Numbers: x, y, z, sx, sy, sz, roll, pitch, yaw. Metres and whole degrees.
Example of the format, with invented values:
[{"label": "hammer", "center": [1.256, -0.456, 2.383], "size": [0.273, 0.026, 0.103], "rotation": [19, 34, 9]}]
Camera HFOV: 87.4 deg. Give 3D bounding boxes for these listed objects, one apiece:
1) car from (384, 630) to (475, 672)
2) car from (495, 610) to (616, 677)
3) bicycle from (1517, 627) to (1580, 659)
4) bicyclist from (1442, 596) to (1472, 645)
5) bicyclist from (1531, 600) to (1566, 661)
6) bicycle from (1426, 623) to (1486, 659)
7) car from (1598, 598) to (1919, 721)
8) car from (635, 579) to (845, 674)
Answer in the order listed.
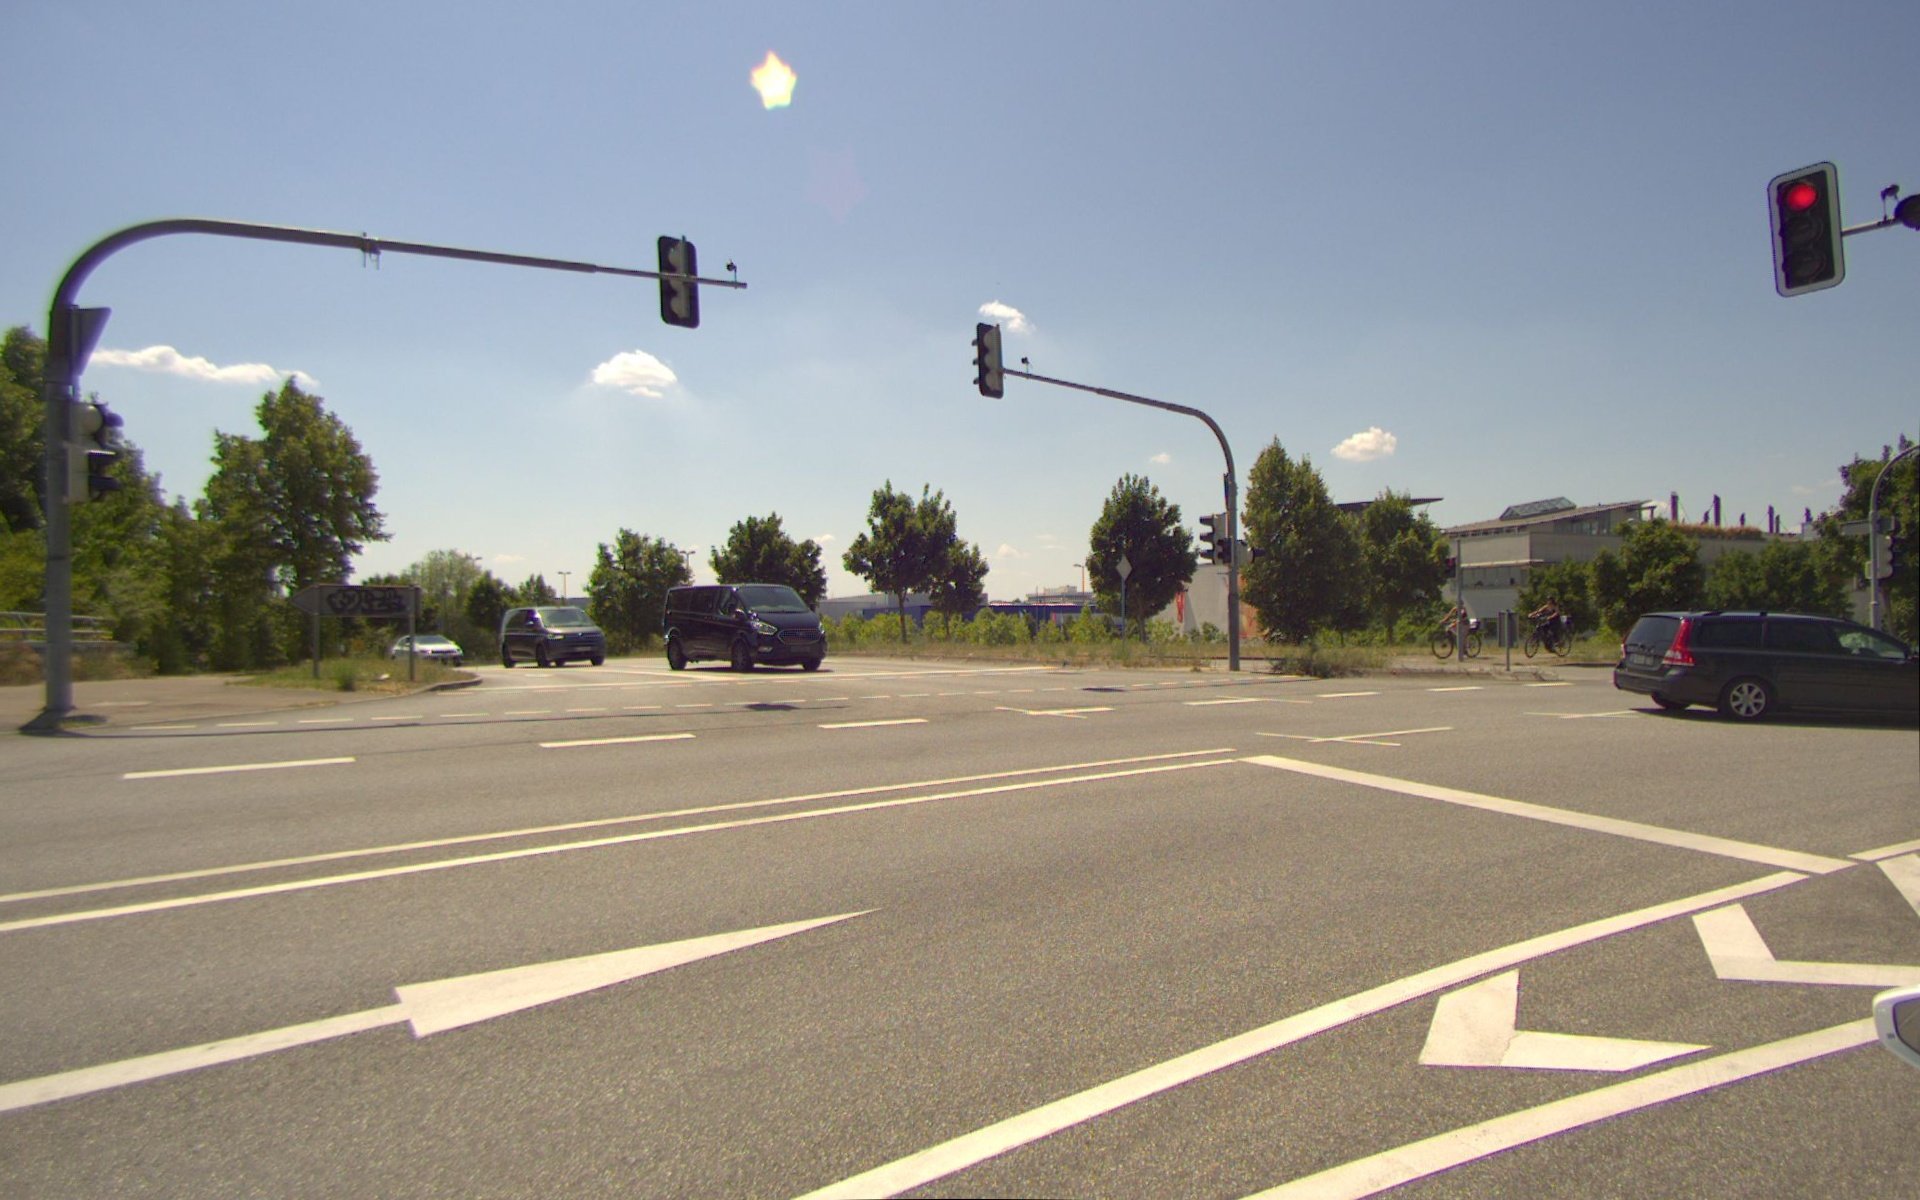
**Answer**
[{"label": "car", "center": [-22.018, 2.080, 41.669], "size": [3.935, 1.549, 1.789], "rotation": [0, -1, 36]}, {"label": "car", "center": [-12.760, 1.365, 31.554], "size": [4.472, 1.944, 1.933], "rotation": [-2, -3, 45]}, {"label": "bicycle", "center": [17.045, 1.227, 29.080], "size": [2.101, 0.864, 0.531], "rotation": [1, 1, -29]}, {"label": "bicyclist", "center": [14.533, 0.596, 29.370], "size": [0.674, 1.423, 0.407], "rotation": [1, 1, -19]}, {"label": "bicyclist", "center": [17.029, 0.867, 29.068], "size": [0.721, 1.741, 0.527], "rotation": [1, 1, -28]}, {"label": "bicycle", "center": [14.508, 1.199, 29.376], "size": [1.803, 1.038, 0.413], "rotation": [1, 1, -19]}, {"label": "car", "center": [11.961, 0.811, 14.223], "size": [4.638, 1.566, 1.738], "rotation": [1, -1, 6]}, {"label": "car", "center": [-5.239, 0.558, 23.408], "size": [5.334, 1.963, 2.114], "rotation": [0, -1, 43]}]
